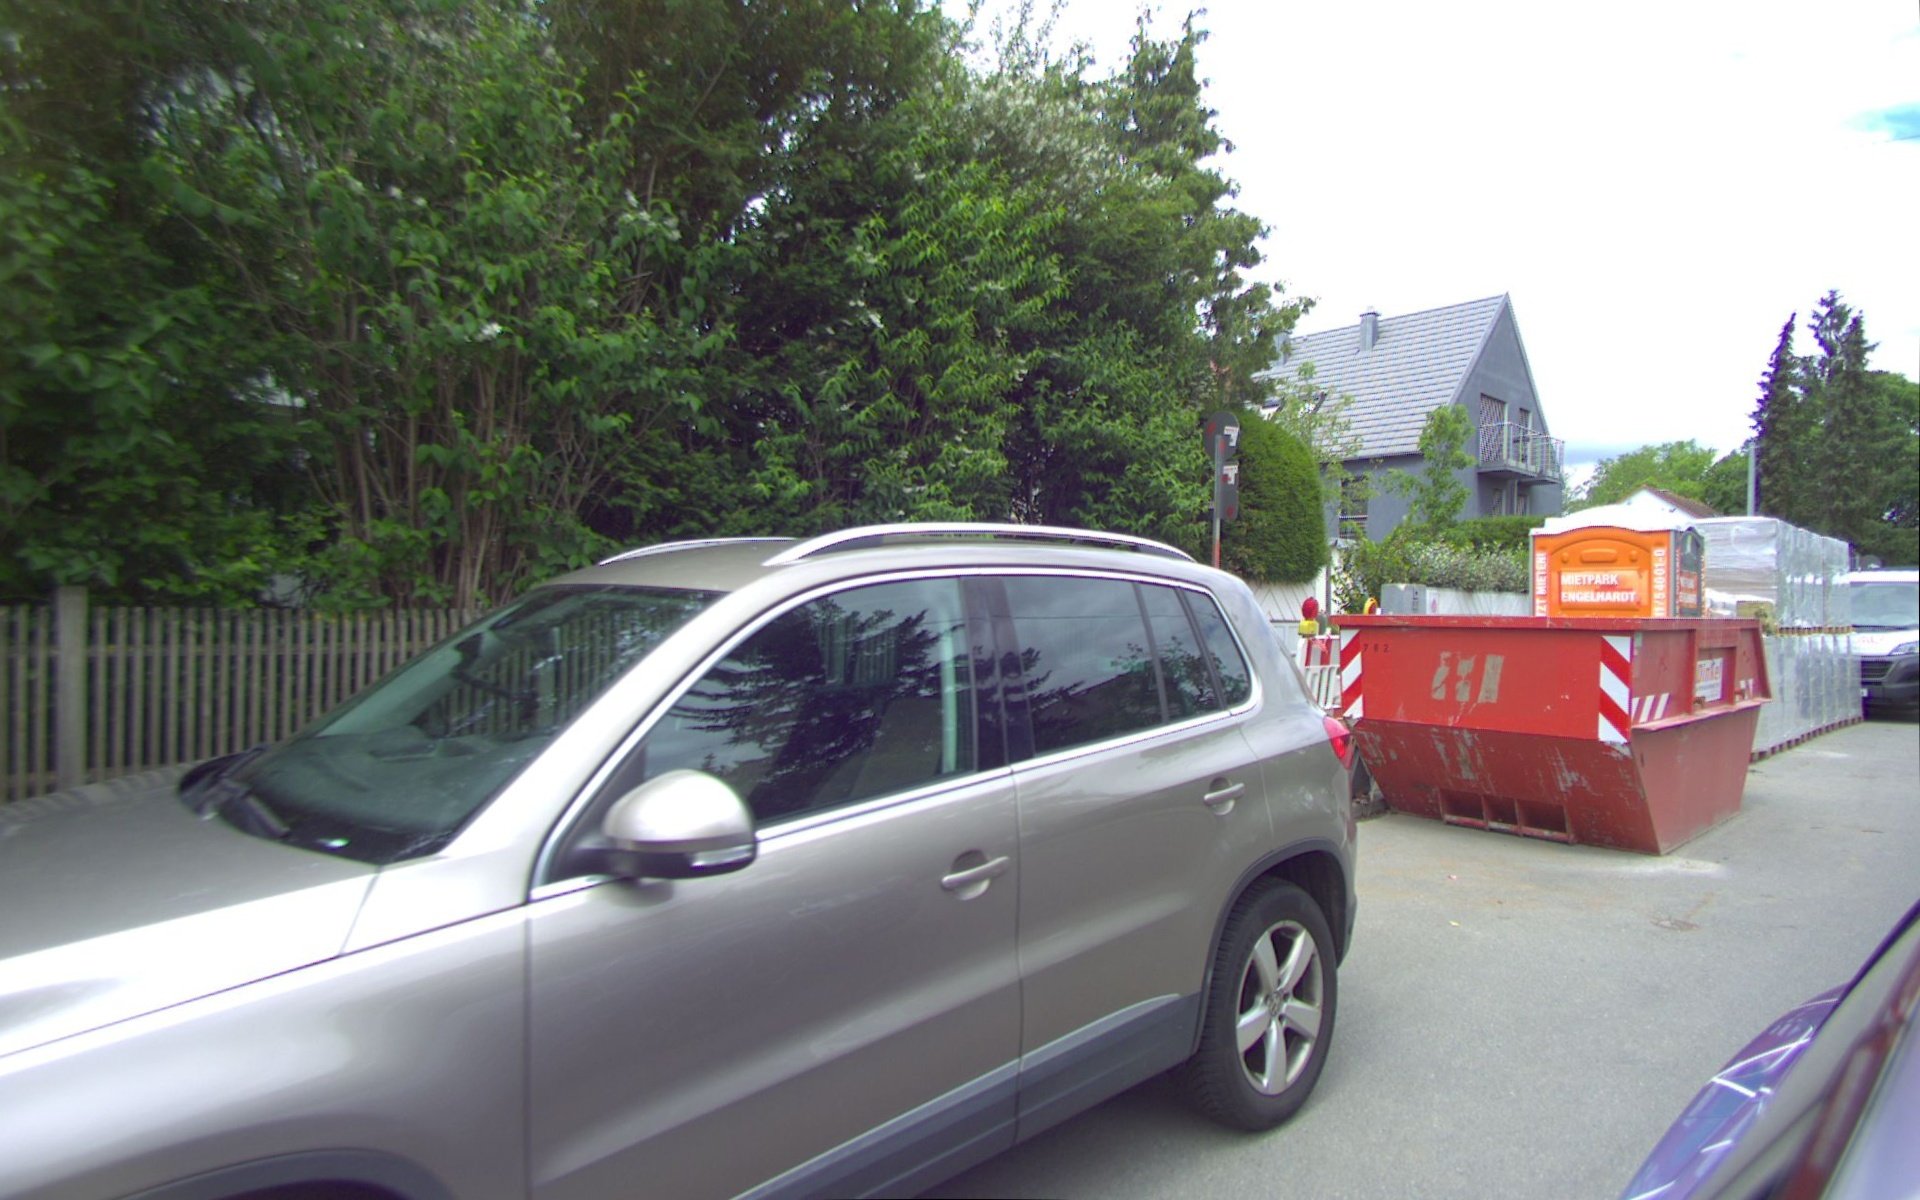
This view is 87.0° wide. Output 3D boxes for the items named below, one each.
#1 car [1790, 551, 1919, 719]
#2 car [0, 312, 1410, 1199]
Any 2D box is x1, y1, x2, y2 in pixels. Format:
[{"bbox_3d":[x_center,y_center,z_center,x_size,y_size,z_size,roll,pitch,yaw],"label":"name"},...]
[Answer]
[{"bbox_3d":[14.537,0.460,15.659,5.276,2.252,1.851,0,-1,-43],"label":"car"},{"bbox_3d":[-0.665,0.545,2.656,4.053,1.653,1.876,2,-1,-42],"label":"car"}]
